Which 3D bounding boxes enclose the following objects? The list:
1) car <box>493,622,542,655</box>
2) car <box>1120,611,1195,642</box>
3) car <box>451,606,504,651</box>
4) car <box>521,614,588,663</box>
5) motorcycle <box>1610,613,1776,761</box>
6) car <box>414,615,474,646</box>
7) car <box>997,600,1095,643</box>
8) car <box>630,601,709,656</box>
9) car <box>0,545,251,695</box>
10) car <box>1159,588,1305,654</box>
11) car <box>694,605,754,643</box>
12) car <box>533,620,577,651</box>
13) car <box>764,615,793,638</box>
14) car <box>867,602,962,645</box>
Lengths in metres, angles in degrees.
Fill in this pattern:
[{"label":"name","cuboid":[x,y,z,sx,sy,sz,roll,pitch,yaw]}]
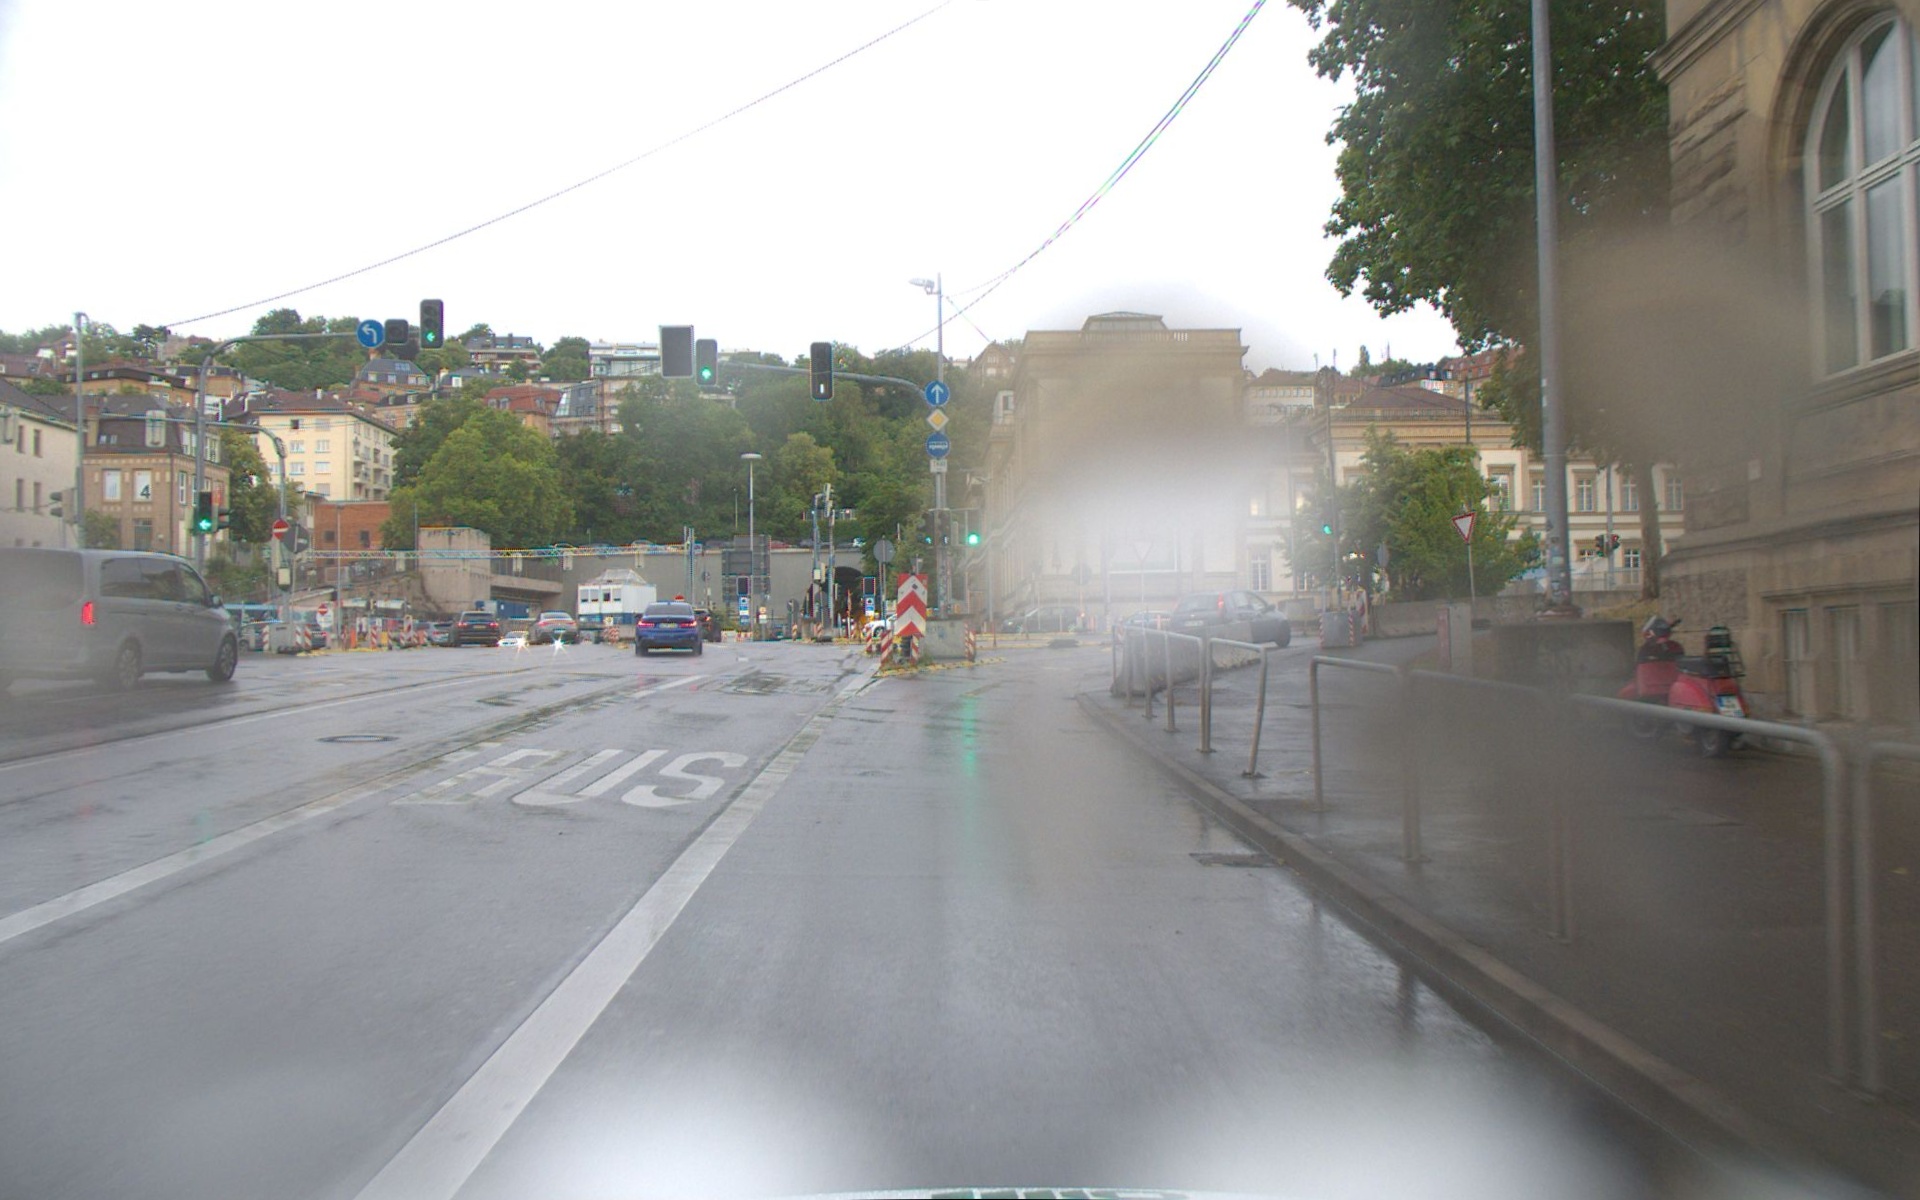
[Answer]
[{"label":"car","cuboid":[-28.766,2.472,107.634,1.952,2.049,4.002,0,0,3]},{"label":"car","cuboid":[11.274,1.511,94.511,4.096,1.730,1.822,0,0,-1]},{"label":"car","cuboid":[-20.159,1.145,68.984,1.751,1.780,3.973,0,0,-22]},{"label":"car","cuboid":[-18.156,1.672,73.910,1.971,2.049,4.255,0,0,-28]},{"label":"motorcycle","cuboid":[6.246,0.705,14.201,0.535,1.158,1.898,-1,0,-1]},{"label":"car","cuboid":[-26.751,1.559,85.684,1.763,1.489,3.946,0,0,-38]},{"label":"car","cuboid":[4.211,1.052,81.408,4.584,2.049,1.998,0,0,-6]},{"label":"car","cuboid":[-8.055,0.772,46.209,1.955,1.464,3.994,0,-1,-7]},{"label":"car","cuboid":[-11.787,0.273,22.991,1.953,1.871,4.681,0,-1,-2]},{"label":"car","cuboid":[6.448,0.475,38.982,1.645,1.452,3.736,-2,-1,41]},{"label":"car","cuboid":[-10.978,1.100,77.208,1.952,1.663,4.002,1,0,4]},{"label":"car","cuboid":[-28.325,2.441,115.716,1.952,2.049,4.002,0,0,3]},{"label":"car","cuboid":[-11.727,1.711,107.303,1.463,1.378,3.999,1,0,-1]},{"label":"car","cuboid":[-2.231,1.135,80.665,4.537,2.049,1.998,0,0,-6]}]
